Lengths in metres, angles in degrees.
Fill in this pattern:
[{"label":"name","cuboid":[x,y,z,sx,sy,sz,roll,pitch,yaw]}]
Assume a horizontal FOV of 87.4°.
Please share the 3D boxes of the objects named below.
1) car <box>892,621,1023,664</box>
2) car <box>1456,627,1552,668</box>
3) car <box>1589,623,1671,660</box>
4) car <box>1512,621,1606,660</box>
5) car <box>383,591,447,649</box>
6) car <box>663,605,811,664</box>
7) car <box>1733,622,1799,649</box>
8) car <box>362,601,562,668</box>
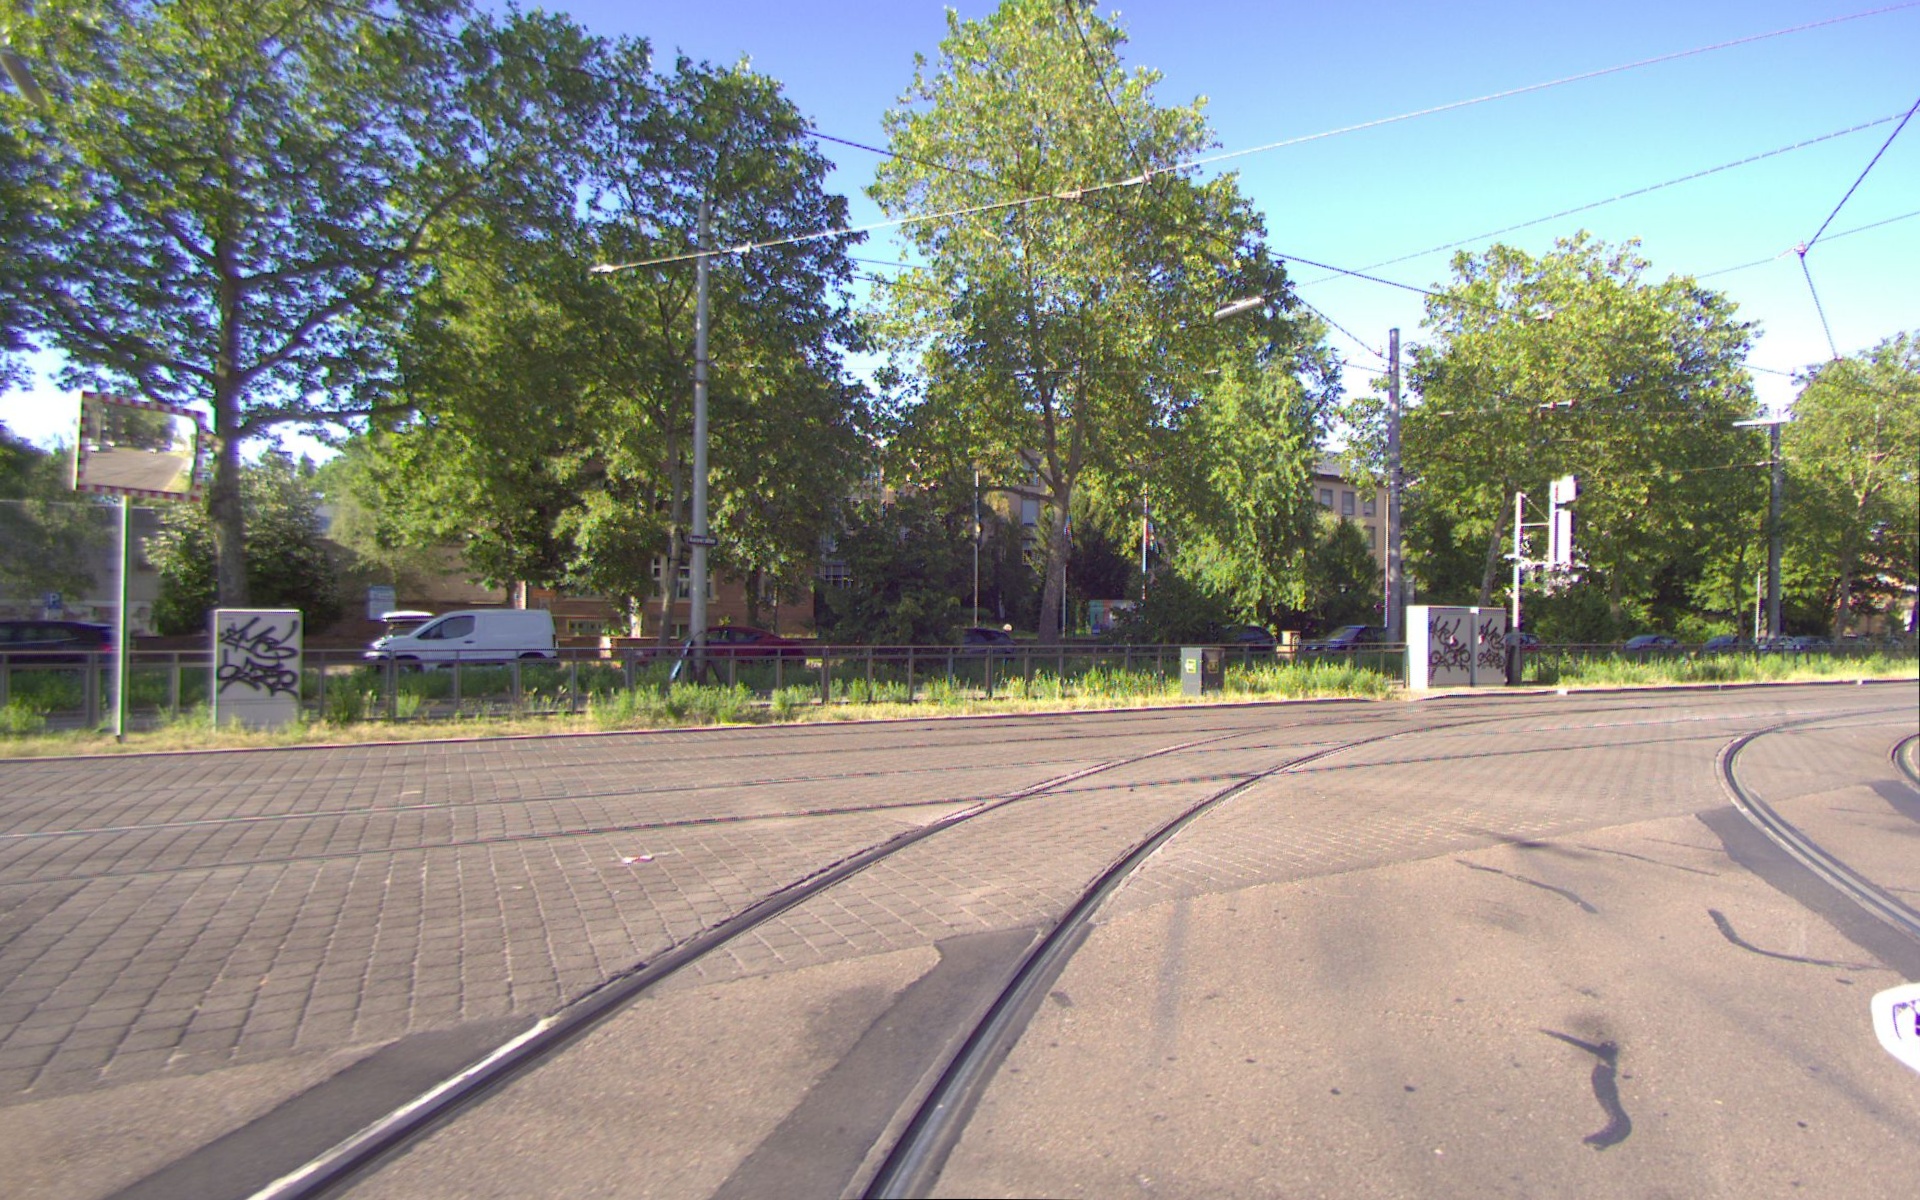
[{"label":"car","cuboid":[-0.058,1.282,30.881,3.715,1.237,1.614,1,-1,-28]},{"label":"car","cuboid":[24.399,2.084,45.029,3.953,1.644,1.984,1,1,-30]},{"label":"car","cuboid":[33.685,2.052,50.519,3.952,1.706,1.813,1,1,-29]},{"label":"car","cuboid":[28.870,1.924,48.378,4.462,1.706,1.983,1,1,-31]},{"label":"car","cuboid":[-18.322,0.667,33.897,1.593,1.841,3.926,1,-1,-24]},{"label":"car","cuboid":[-6.170,0.934,27.837,3.769,1.491,1.587,1,1,-25]},{"label":"car","cuboid":[44.281,1.929,55.187,3.459,1.330,1.561,1,1,-28]},{"label":"car","cuboid":[-12.275,0.825,24.946,4.291,1.491,1.734,1,1,-27]}]
